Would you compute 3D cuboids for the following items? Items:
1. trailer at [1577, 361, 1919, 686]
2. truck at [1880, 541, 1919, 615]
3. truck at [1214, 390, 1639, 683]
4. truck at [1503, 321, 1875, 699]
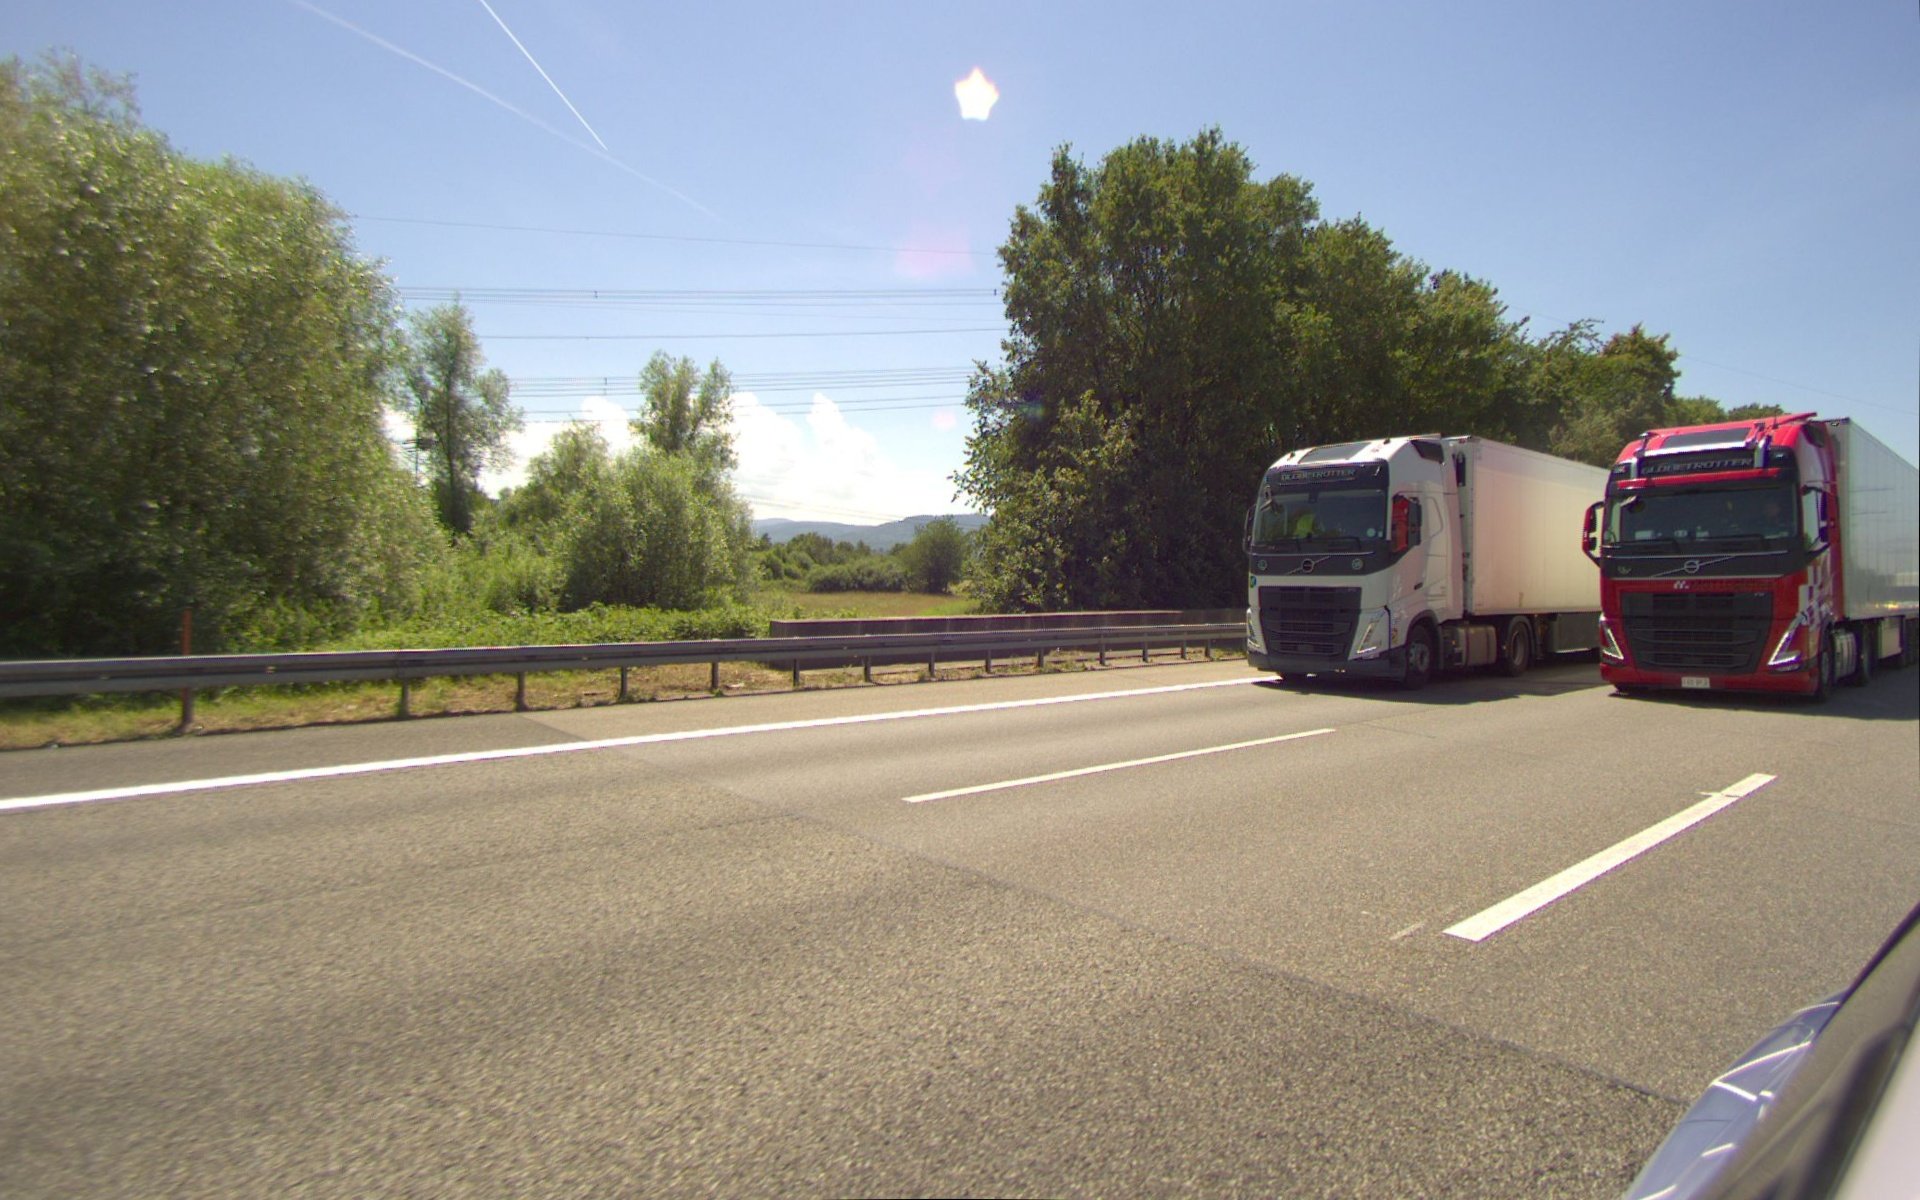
[{"bbox_3d":[15.975,-1.026,19.078,15.921,4.068,2.942,0,0,-42],"label":"trailer"},{"bbox_3d":[52.847,-1.132,55.882,9.869,3.819,1.985,0,0,-42],"label":"truck"},{"bbox_3d":[9.240,-0.946,18.973,10.784,4.144,3.031,0,0,-41],"label":"truck"},{"bbox_3d":[10.185,-0.991,13.913,5.996,4.036,2.945,0,0,-42],"label":"truck"}]
